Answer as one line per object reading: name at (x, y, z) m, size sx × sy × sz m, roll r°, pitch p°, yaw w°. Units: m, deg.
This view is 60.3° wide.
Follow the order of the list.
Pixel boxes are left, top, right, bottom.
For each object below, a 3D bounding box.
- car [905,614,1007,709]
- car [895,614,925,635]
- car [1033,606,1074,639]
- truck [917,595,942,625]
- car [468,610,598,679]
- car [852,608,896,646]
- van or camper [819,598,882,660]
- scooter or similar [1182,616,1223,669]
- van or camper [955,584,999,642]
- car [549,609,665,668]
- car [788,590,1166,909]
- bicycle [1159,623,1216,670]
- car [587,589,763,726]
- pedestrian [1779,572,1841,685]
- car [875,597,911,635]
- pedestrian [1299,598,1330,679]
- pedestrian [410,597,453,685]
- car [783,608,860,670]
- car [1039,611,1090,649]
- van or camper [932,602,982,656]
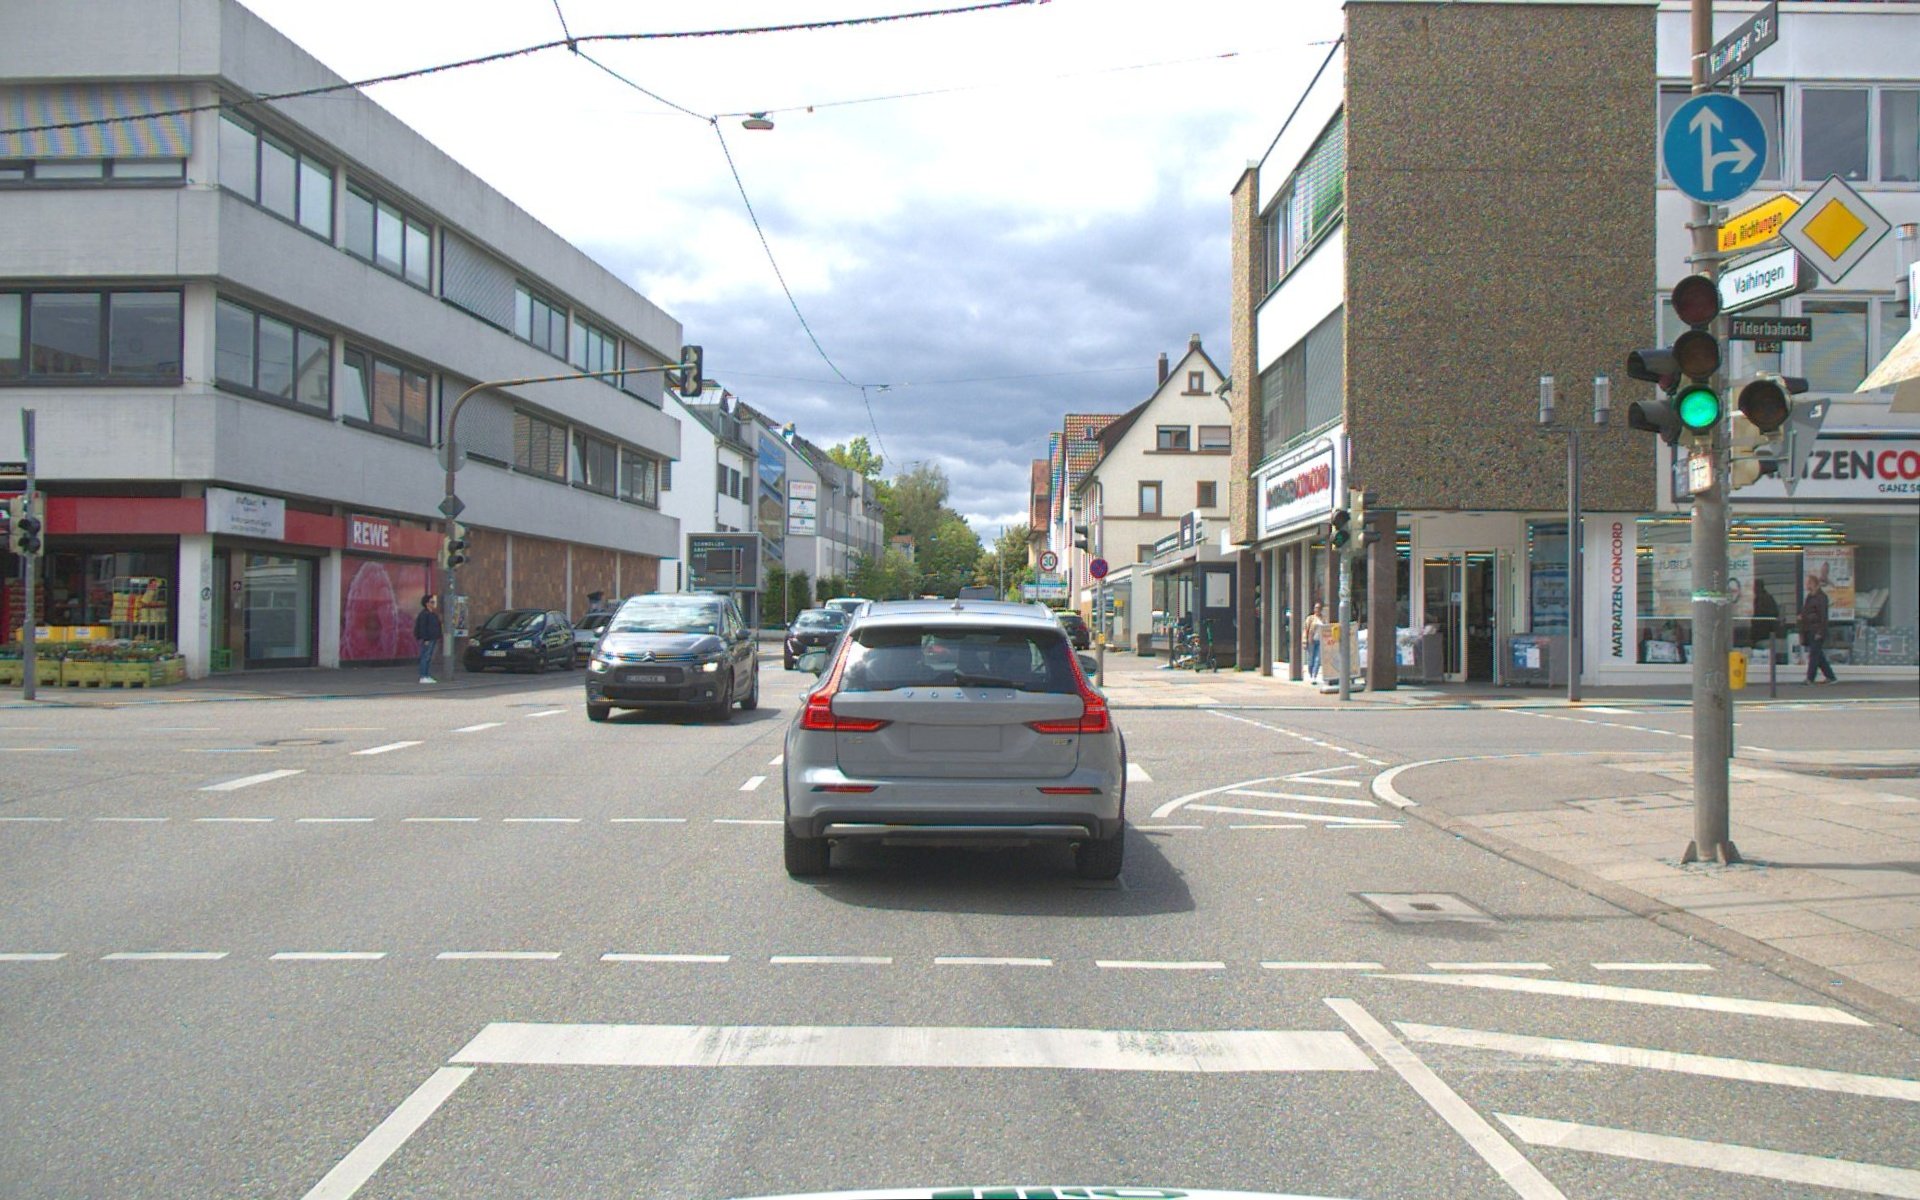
car at (-0.085, 1.018, 28.466) m, size 1.617 × 1.508 × 3.606 m, roll 1°, pitch -1°, yaw -1°
car at (-3.593, 1.754, 120.138) m, size 1.725 × 1.451 × 4.002 m, roll -1°, pitch -1°, yaw 4°
car at (4.596, 1.141, 81.606) m, size 1.844 × 1.526 × 3.971 m, roll 1°, pitch -2°, yaw 1°
truck at (-3.043, 1.026, 164.933) m, size 2.229 × 2.937 × 7.079 m, roll 0°, pitch 0°, yaw 1°
car at (-10.022, 1.018, 39.081) m, size 1.747 × 1.490 × 4.088 m, roll 2°, pitch -1°, yaw 3°
car at (-3.702, 1.172, 71.898) m, size 1.634 × 1.581 × 4.215 m, roll 0°, pitch -1°, yaw 1°
van or camper at (-3.607, 0.927, 55.166) m, size 1.826 × 1.931 × 4.692 m, roll 0°, pitch 0°, yaw 0°
scooter or similar at (5.939, 1.054, 40.538) m, size 0.336 × 1.275 × 1.235 m, roll -2°, pitch -1°, yaw -26°
van or camper at (0.825, 0.619, 80.032) m, size 2.079 × 2.733 × 4.781 m, roll 0°, pitch 0°, yaw 1°
car at (-9.456, 1.004, 44.642) m, size 1.864 × 1.469 × 4.445 m, roll 2°, pitch 0°, yaw 4°
car at (0.060, 0.712, 9.908) m, size 1.798 × 1.512 × 3.999 m, roll 0°, pitch 0°, yaw -1°
bicycle at (5.934, 1.199, 43.280) m, size 0.546 × 1.164 × 2.288 m, roll 0°, pitch -1°, yaw -18°
car at (-3.652, 0.707, 21.839) m, size 1.753 × 1.617 × 4.099 m, roll 0°, pitch -1°, yaw -2°
pedestrian at (13.425, 0.448, 26.135) m, size 0.573 × 1.735 × 0.613 m, roll -2°, pitch 0°, yaw -32°
car at (-3.595, 0.869, 89.012) m, size 1.800 × 1.951 × 4.155 m, roll 1°, pitch -1°, yaw -1°
pedestrian at (6.700, 0.724, 31.214) m, size 0.493 × 1.485 × 0.500 m, roll -3°, pitch -2°, yaw 13°
pedestrian at (-10.187, 0.788, 31.893) m, size 0.606 × 1.670 × 0.660 m, roll 0°, pitch -1°, yaw 1°
car at (-3.582, 0.993, 43.396) m, size 1.648 × 1.523 × 3.967 m, roll -1°, pitch -1°, yaw 0°
car at (4.282, 1.262, 68.097) m, size 1.676 × 1.490 × 3.997 m, roll 1°, pitch -2°, yaw -2°
van or camper at (-0.137, 1.115, 61.598) m, size 1.782 × 1.867 × 3.998 m, roll 0°, pitch -3°, yaw -1°
